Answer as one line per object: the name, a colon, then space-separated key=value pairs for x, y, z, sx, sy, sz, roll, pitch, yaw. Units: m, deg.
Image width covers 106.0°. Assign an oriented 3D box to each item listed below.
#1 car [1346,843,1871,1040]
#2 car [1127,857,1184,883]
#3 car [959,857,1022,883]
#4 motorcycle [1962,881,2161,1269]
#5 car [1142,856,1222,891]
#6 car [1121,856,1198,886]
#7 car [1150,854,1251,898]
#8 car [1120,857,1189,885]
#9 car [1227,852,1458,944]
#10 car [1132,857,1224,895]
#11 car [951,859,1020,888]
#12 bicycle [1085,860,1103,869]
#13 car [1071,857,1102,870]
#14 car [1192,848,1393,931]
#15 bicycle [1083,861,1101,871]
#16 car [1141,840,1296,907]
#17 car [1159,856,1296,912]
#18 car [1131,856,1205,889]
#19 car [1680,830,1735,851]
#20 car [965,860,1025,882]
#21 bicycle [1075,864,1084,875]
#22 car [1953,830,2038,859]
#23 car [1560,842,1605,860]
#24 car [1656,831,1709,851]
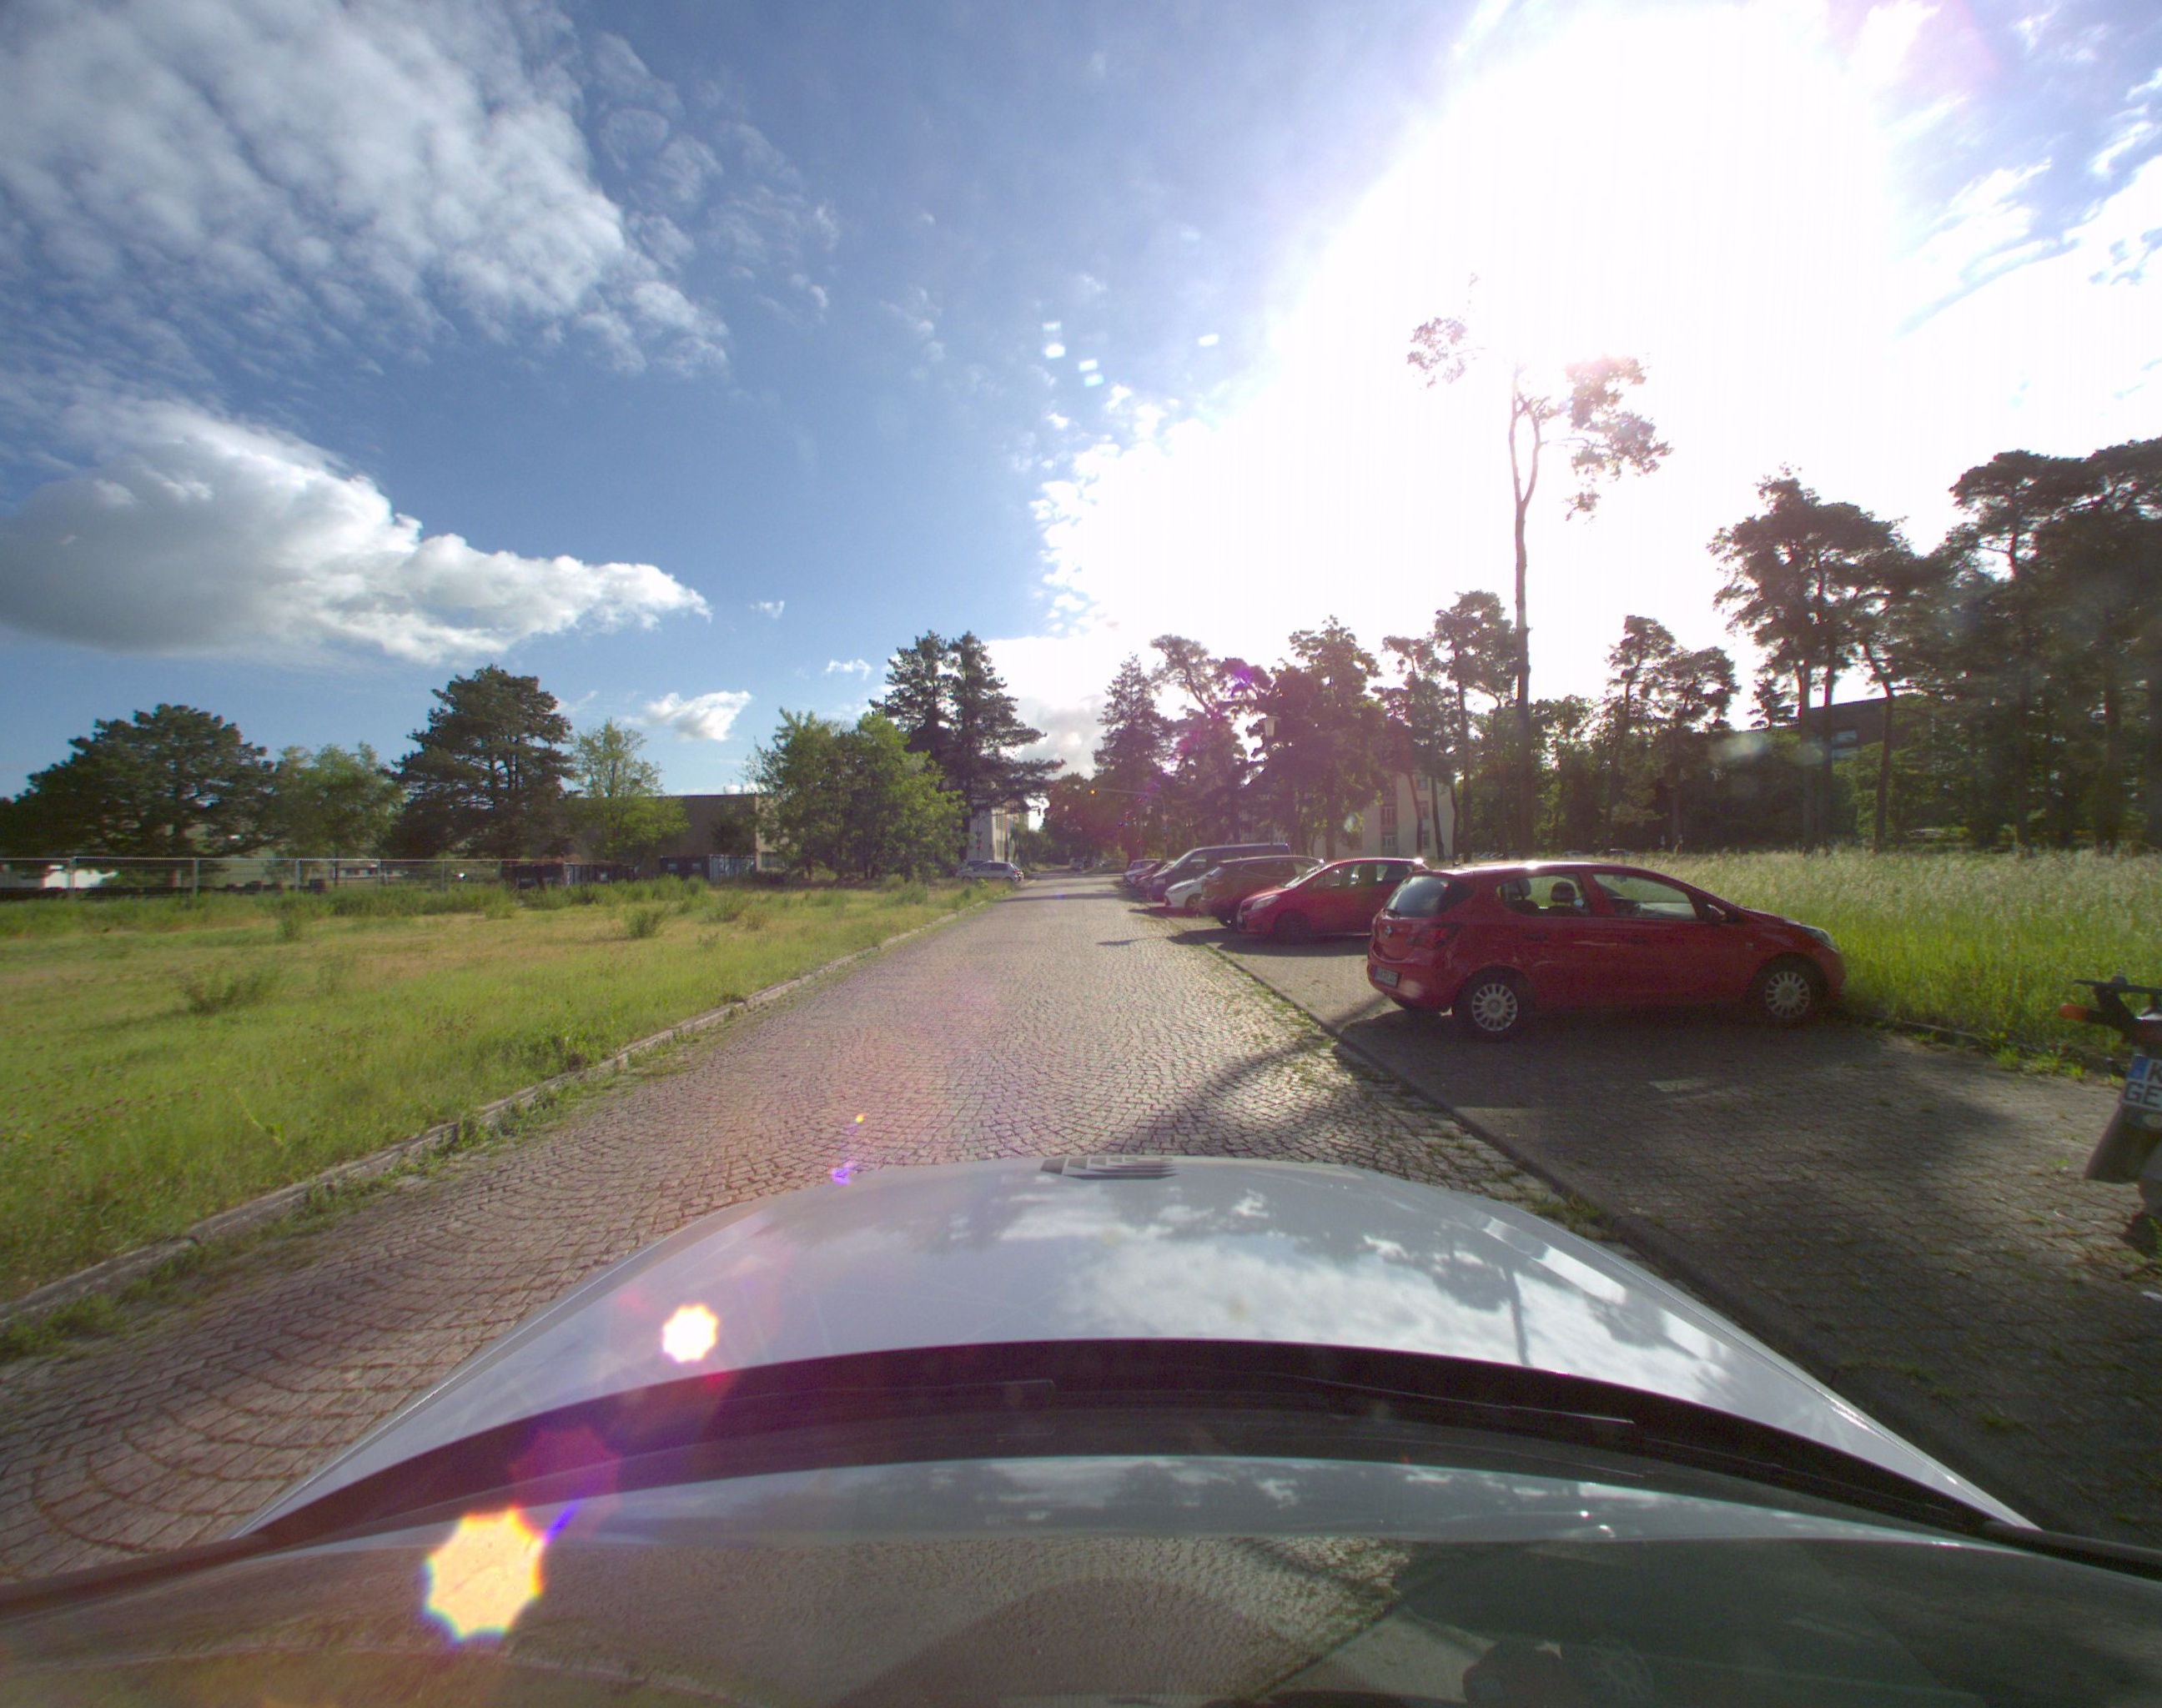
car: x=4.651 y=0.718 z=7.571 sx=3.816 sy=1.478 sz=1.644 roll=-2 pitch=0 yaw=-1
car: x=4.575 y=0.970 z=50.555 sx=3.334 sy=1.483 sz=1.644 roll=-1 pitch=0 yaw=-2
car: x=-6.079 y=1.070 z=55.025 sx=3.975 sy=1.601 sz=1.999 roll=2 pitch=0 yaw=-1
motorcycle: x=4.937 y=0.764 z=3.140 sx=2.293 sy=1.320 sz=0.726 roll=-2 pitch=0 yaw=-1
car: x=4.684 y=0.898 z=37.915 sx=3.469 sy=1.529 sz=1.644 roll=-1 pitch=0 yaw=-2
car: x=4.340 y=0.944 z=45.141 sx=4.026 sy=1.529 sz=1.643 roll=-1 pitch=0 yaw=-4
car: x=4.649 y=0.847 z=32.110 sx=3.682 sy=1.466 sz=1.645 roll=-3 pitch=0 yaw=0
car: x=4.281 y=0.985 z=47.911 sx=3.825 sy=1.529 sz=1.644 roll=-1 pitch=0 yaw=-2
car: x=4.758 y=0.769 z=15.164 sx=3.752 sy=1.530 sz=1.644 roll=-1 pitch=0 yaw=-2
car: x=4.126 y=0.923 z=34.989 sx=3.665 sy=1.467 sz=1.644 roll=-2 pitch=0 yaw=-2
car: x=-5.782 y=1.175 z=49.639 sx=3.978 sy=1.600 sz=1.998 roll=-1 pitch=0 yaw=-3
bicycle: x=1.579 y=1.256 z=100.564 sx=2.173 sy=1.100 sz=0.804 roll=-1 pitch=-1 yaw=-10
car: x=0.783 y=1.374 z=116.956 sx=4.467 sy=1.728 sz=1.999 roll=-1 pitch=0 yaw=-1
car: x=4.530 y=0.737 z=17.836 sx=3.925 sy=1.621 sz=1.771 roll=-1 pitch=0 yaw=-2
bicycle: x=1.335 y=1.472 z=99.493 sx=2.173 sy=1.100 sz=0.804 roll=-1 pitch=-1 yaw=-10
car: x=4.463 y=0.622 z=26.933 sx=4.667 sy=2.014 sz=2.081 roll=-1 pitch=0 yaw=-4
car: x=4.309 y=0.870 z=24.250 sx=3.710 sy=1.488 sz=1.644 roll=-2 pitch=0 yaw=-3
car: x=4.297 y=0.919 z=40.601 sx=3.469 sy=1.529 sz=1.644 roll=-1 pitch=0 yaw=-2
car: x=62.620 y=-1.355 z=81.407 sx=3.975 sy=2.014 sz=1.999 roll=-1 pitch=0 yaw=-1
car: x=-6.014 y=1.184 z=57.425 sx=3.975 sy=1.453 sz=1.999 roll=2 pitch=0 yaw=-1
bicycle: x=-0.146 y=1.848 z=96.008 sx=0.803 sy=1.169 sz=2.175 roll=-3 pitch=0 yaw=-6
car: x=67.300 y=-0.674 z=59.967 sx=3.975 sy=2.014 sz=1.999 roll=-1 pitch=0 yaw=-1
car: x=57.651 y=-0.317 z=93.659 sx=3.975 sy=2.014 sz=1.999 roll=-1 pitch=0 yaw=-1
car: x=62.113 y=-1.324 z=84.116 sx=3.975 sy=2.014 sz=1.999 roll=-1 pitch=0 yaw=-1
